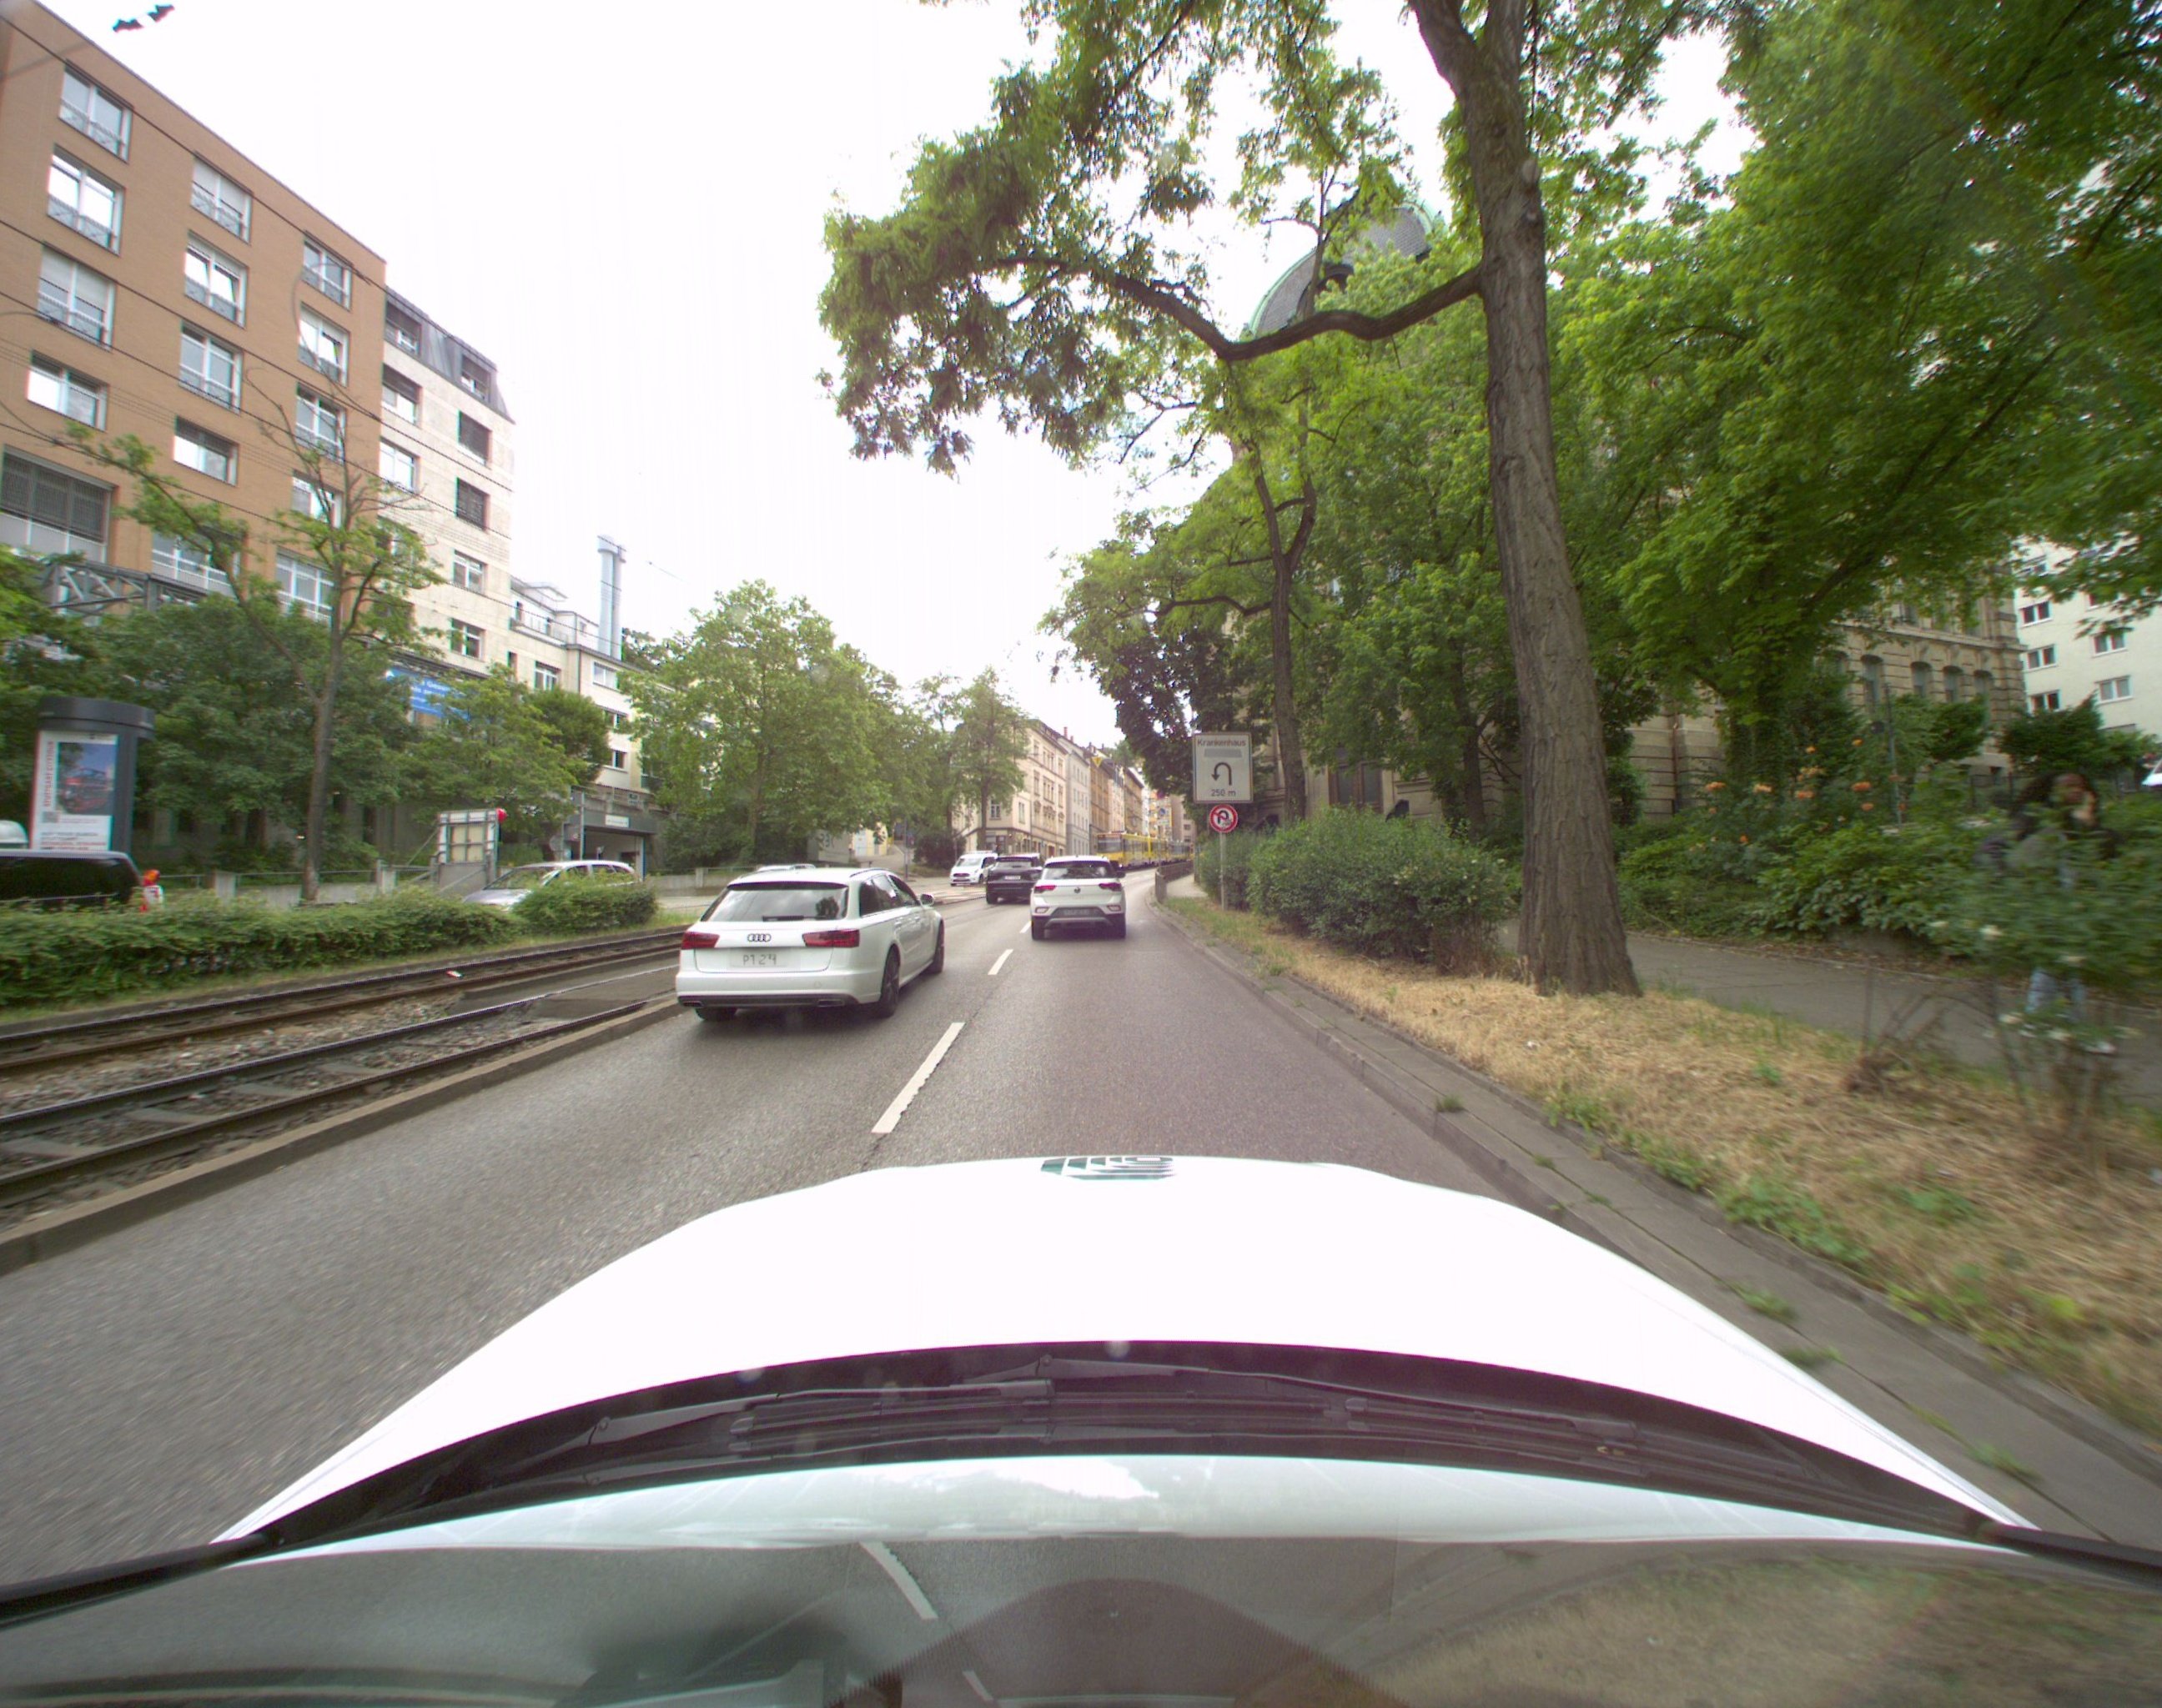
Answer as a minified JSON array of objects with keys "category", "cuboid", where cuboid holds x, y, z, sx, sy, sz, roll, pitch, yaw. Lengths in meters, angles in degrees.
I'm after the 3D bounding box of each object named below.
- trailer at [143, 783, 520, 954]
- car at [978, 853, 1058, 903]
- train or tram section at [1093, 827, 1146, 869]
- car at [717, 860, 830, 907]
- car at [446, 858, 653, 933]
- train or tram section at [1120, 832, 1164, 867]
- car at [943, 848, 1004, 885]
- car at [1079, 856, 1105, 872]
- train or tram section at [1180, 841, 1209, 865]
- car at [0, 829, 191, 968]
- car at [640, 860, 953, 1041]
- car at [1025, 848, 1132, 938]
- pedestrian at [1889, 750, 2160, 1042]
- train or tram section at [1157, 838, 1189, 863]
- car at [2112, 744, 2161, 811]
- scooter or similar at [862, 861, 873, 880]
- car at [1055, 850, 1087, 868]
[{"category":"trailer","cuboid":[-15.128,0.248,17.071,2.005,2.973,5.610,0,0,14]},{"category":"car","cuboid":[-2.077,0.771,28.092,2.028,1.571,4.364,-1,0,5]},{"category":"train or tram section","cuboid":[3.999,-0.534,79.414,2.863,3.726,14.904,0,0,12]},{"category":"car","cuboid":[-10.459,0.952,28.040,1.756,1.408,4.093,-2,0,9]},{"category":"car","cuboid":[-11.696,0.847,18.234,1.648,1.443,3.752,-2,0,12]},{"category":"train or tram section","cuboid":[7.394,-0.467,95.887,2.857,3.726,18.761,0,0,11]},{"category":"car","cuboid":[-6.145,0.671,47.107,1.934,1.946,5.018,-1,0,11]},{"category":"car","cuboid":[1.165,1.020,83.436,1.981,1.552,4.011,-2,0,10]},{"category":"train or tram section","cuboid":[21.606,-0.186,153.486,2.994,4.214,18.935,-1,0,15]},{"category":"car","cuboid":[-13.538,0.548,8.973,1.980,1.605,4.624,-2,0,11]},{"category":"car","cuboid":[-2.747,0.821,9.148,1.873,1.455,4.616,-1,0,0]},{"category":"car","cuboid":[-0.069,0.698,16.454,1.873,1.554,3.998,-1,0,-1]},{"category":"pedestrian","cuboid":[5.959,0.251,5.204,0.768,1.703,0.786,-2,0,4]},{"category":"train or tram section","cuboid":[15.055,-0.585,131.438,2.856,3.726,18.826,0,0,14]},{"category":"car","cuboid":[35.264,-2.574,25.383,5.218,1.933,2.164,-5,-2,-19]},{"category":"scooter or similar","cuboid":[-13.952,1.106,53.350,0.489,1.219,1.637,1,-1,-8]},{"category":"car","cuboid":[-0.829,0.468,71.776,1.980,1.503,4.012,-1,0,12]}]
